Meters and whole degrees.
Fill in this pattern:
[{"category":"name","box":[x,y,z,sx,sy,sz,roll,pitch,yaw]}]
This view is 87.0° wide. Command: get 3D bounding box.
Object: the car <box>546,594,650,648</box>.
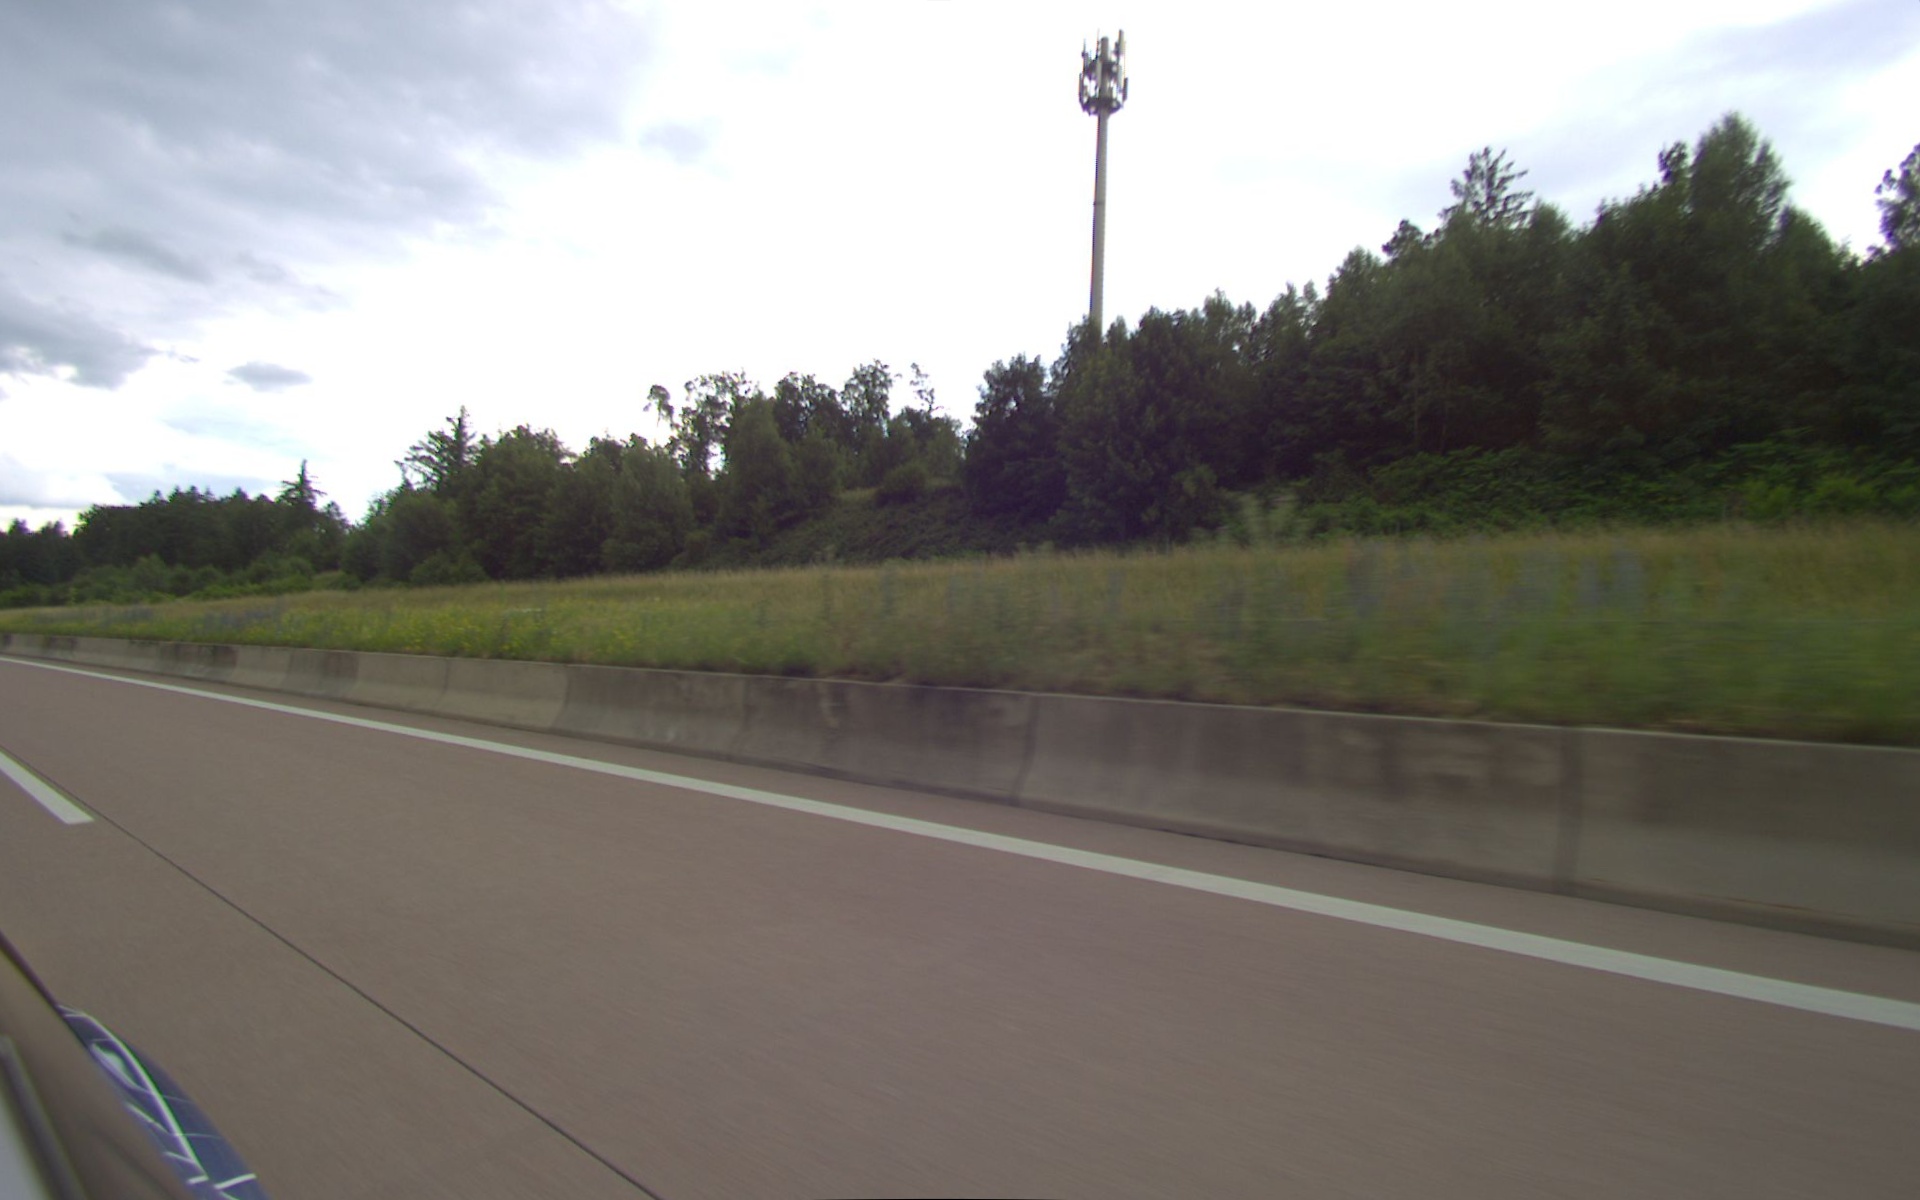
[{"category":"car","box":[-14.646,0.783,40.886,3.989,2.029,1.978,1,1,33]}]
